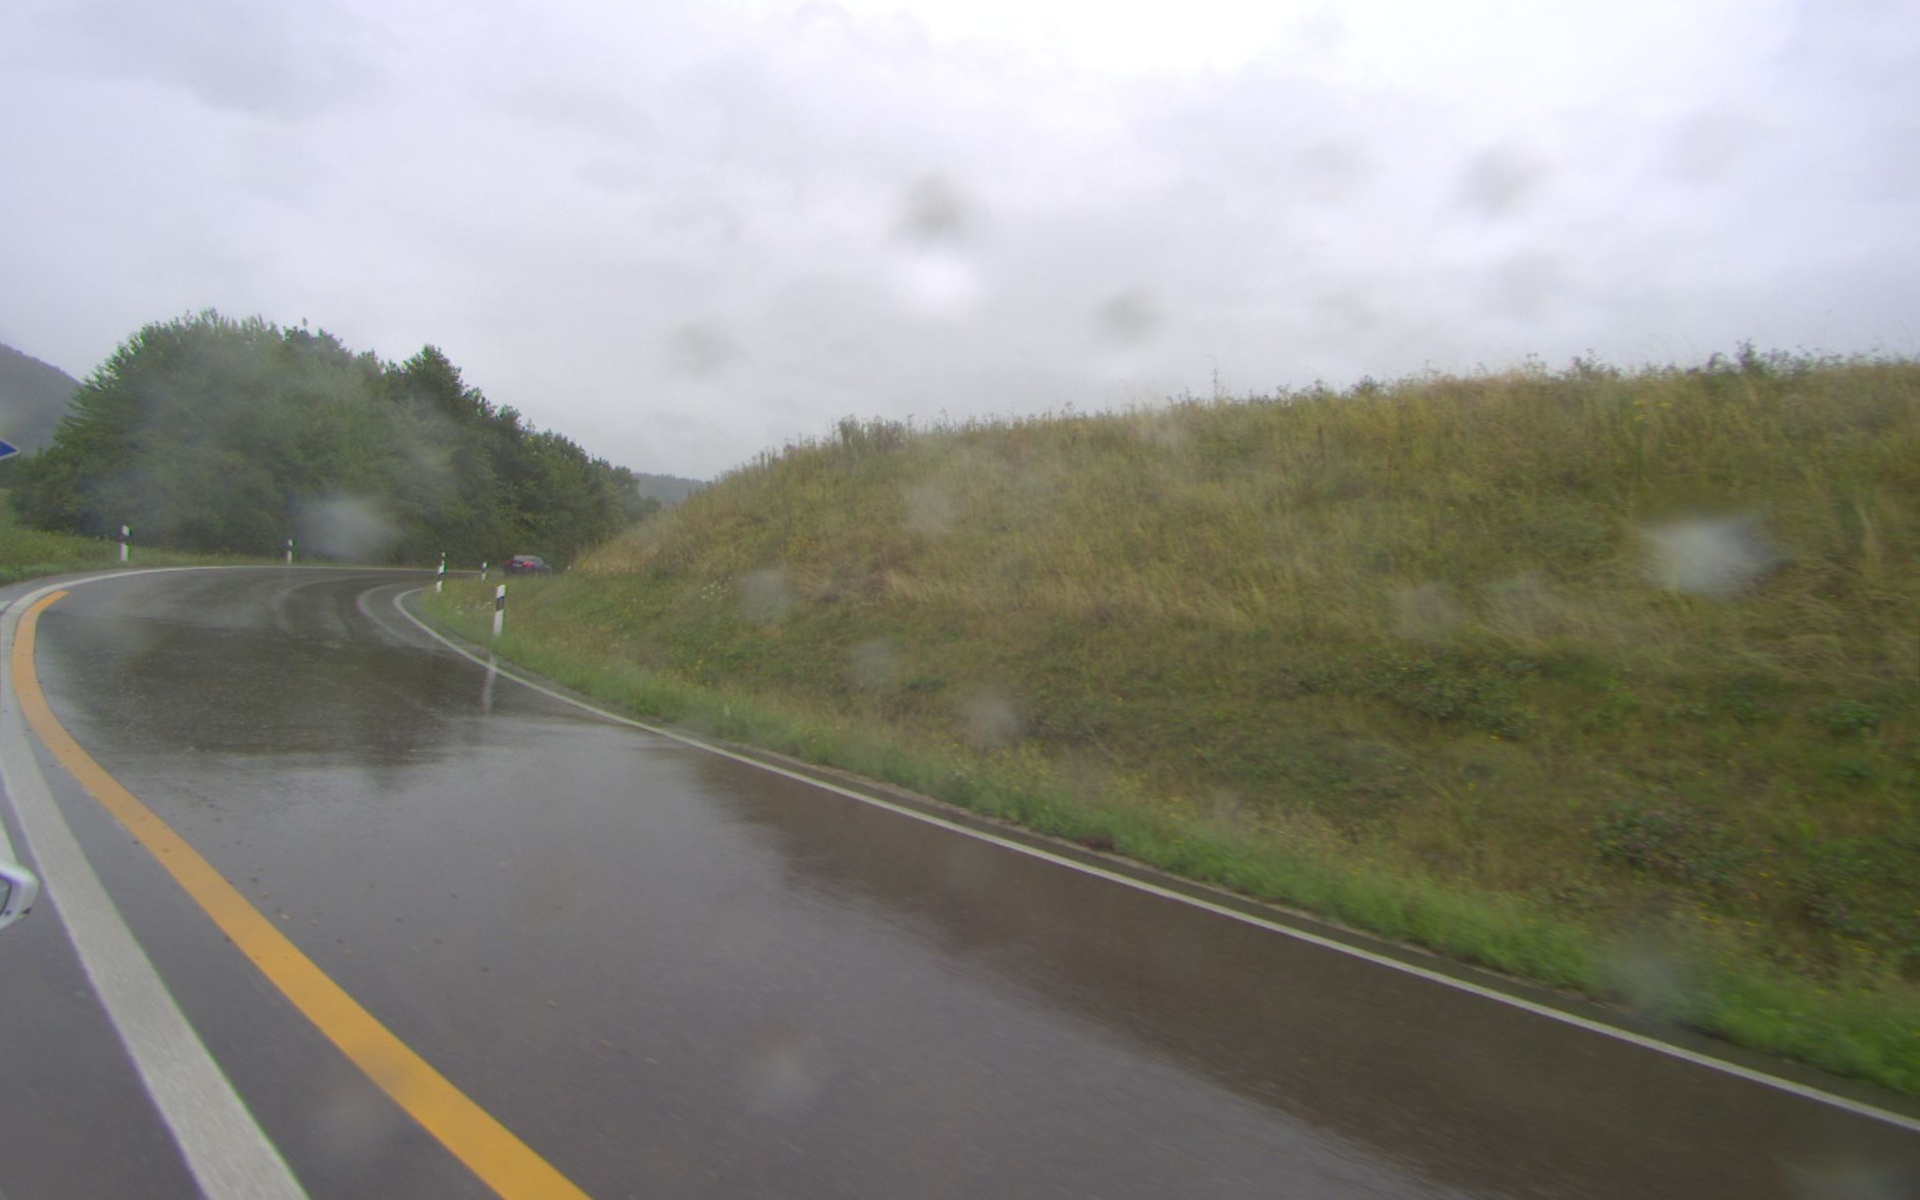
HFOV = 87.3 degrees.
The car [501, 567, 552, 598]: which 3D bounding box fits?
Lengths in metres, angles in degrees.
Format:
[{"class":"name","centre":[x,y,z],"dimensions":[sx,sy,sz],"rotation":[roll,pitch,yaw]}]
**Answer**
[{"class":"car","centre":[-26.759,-1.038,62.156],"dimensions":[1.676,1.525,3.633],"rotation":[8,-2,-5]}]
